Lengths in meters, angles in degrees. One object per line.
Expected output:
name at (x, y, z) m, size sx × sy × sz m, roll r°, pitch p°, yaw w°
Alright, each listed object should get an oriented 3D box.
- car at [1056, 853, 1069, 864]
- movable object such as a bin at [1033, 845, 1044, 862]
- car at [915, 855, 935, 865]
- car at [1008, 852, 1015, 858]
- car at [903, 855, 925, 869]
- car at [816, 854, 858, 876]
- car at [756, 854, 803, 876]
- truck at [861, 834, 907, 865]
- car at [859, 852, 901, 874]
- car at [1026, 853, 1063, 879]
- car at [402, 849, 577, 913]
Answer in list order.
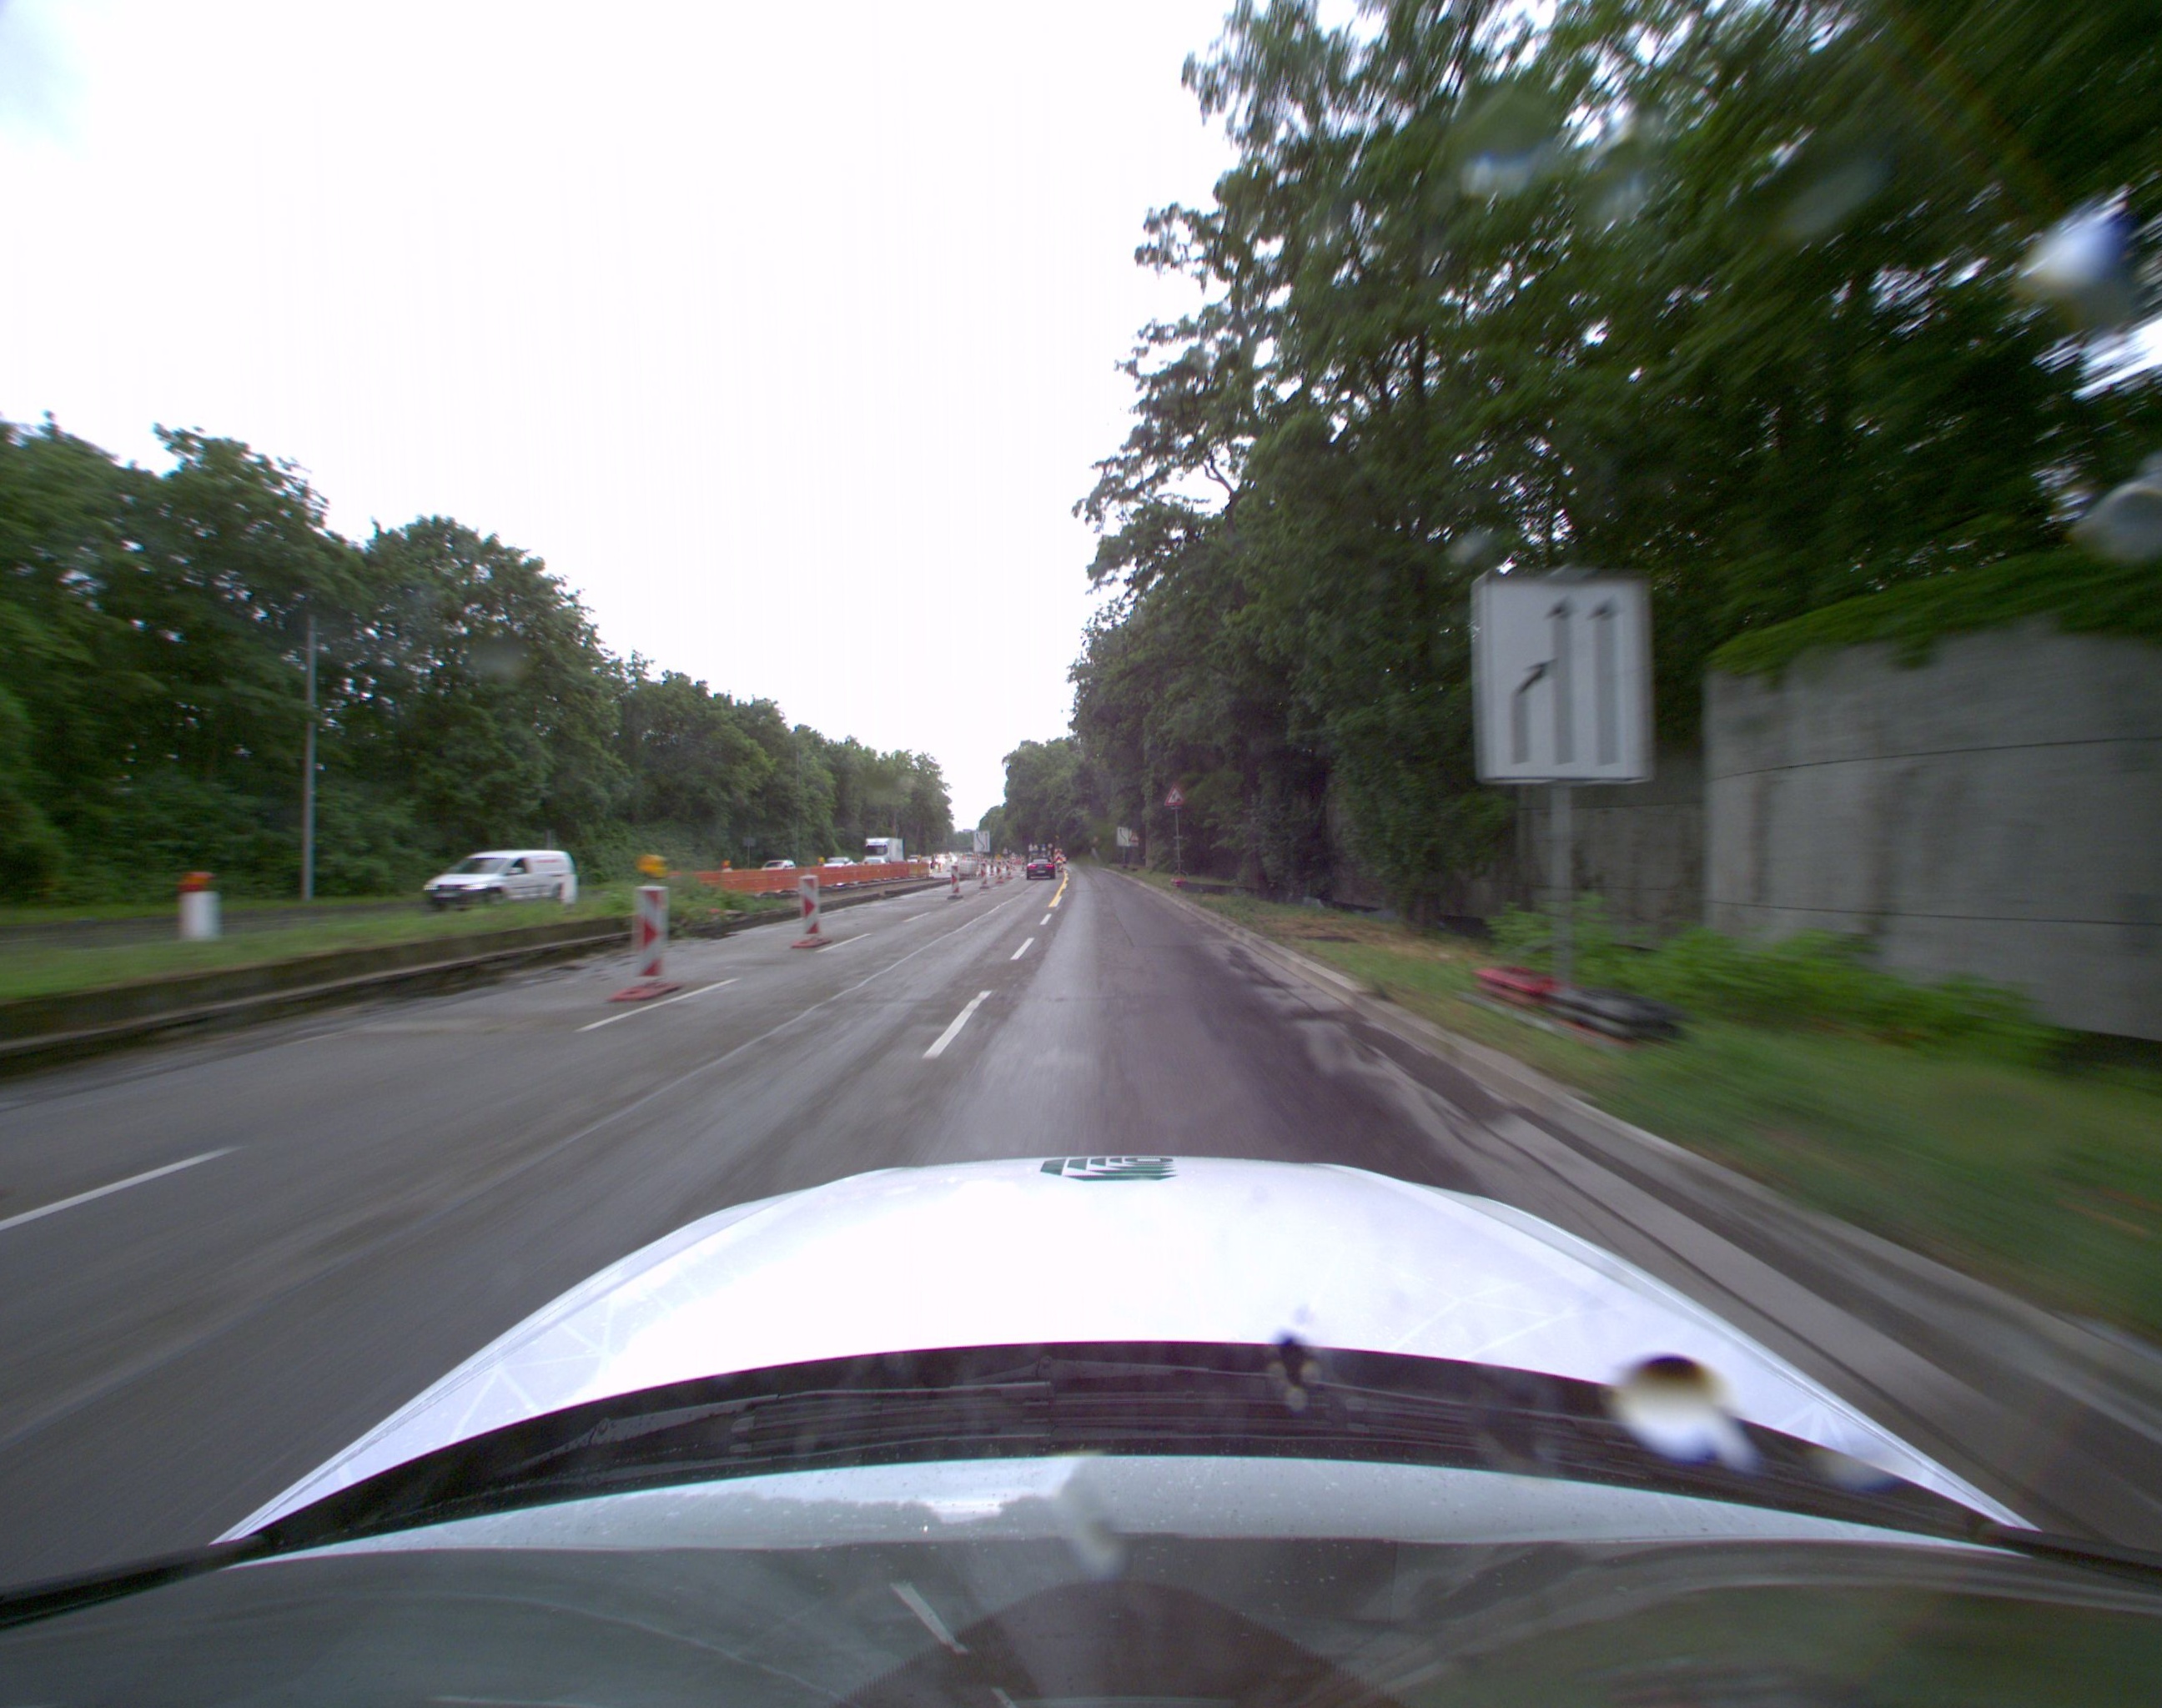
car at (-3.116, 0.754, 133.519) m, size 1.910 × 1.598 × 4.827 m, roll 0°, pitch 1°, yaw -4°
movable object such as a bin at (-7.497, -0.161, 142.865) m, size 1.744 × 2.867 × 3.527 m, roll -2°, pitch 0°, yaw -5°
car at (-19.708, 0.729, 102.947) m, size 1.600 × 1.152 × 4.283 m, roll -1°, pitch 0°, yaw 1°
car at (-19.466, 0.284, 228.390) m, size 1.756 × 1.344 × 3.988 m, roll 0°, pitch 1°, yaw -9°
car at (-22.880, 1.073, 111.779) m, size 1.838 × 1.723 × 4.719 m, roll -4°, pitch 0°, yaw 1°
car at (-18.200, 0.820, 60.882) m, size 1.829 × 1.550 × 4.040 m, roll -1°, pitch 0°, yaw 1°
car at (-20.910, 0.721, 56.646) m, size 1.785 × 1.425 × 3.896 m, roll -1°, pitch 0°, yaw 1°
truck at (-21.402, -0.463, 89.038) m, size 2.788 × 3.148 × 10.142 m, roll -1°, pitch 0°, yaw -1°
car at (-14.803, 0.652, 60.323) m, size 1.849 × 1.486 × 4.679 m, roll -1°, pitch 0°, yaw 1°
car at (-2.303, 0.741, 52.479) m, size 1.853 × 1.491 × 4.006 m, roll 1°, pitch 2°, yaw 5°
car at (-18.342, 0.747, 25.615) m, size 1.908 × 1.781 × 4.833 m, roll 0°, pitch 1°, yaw 0°
